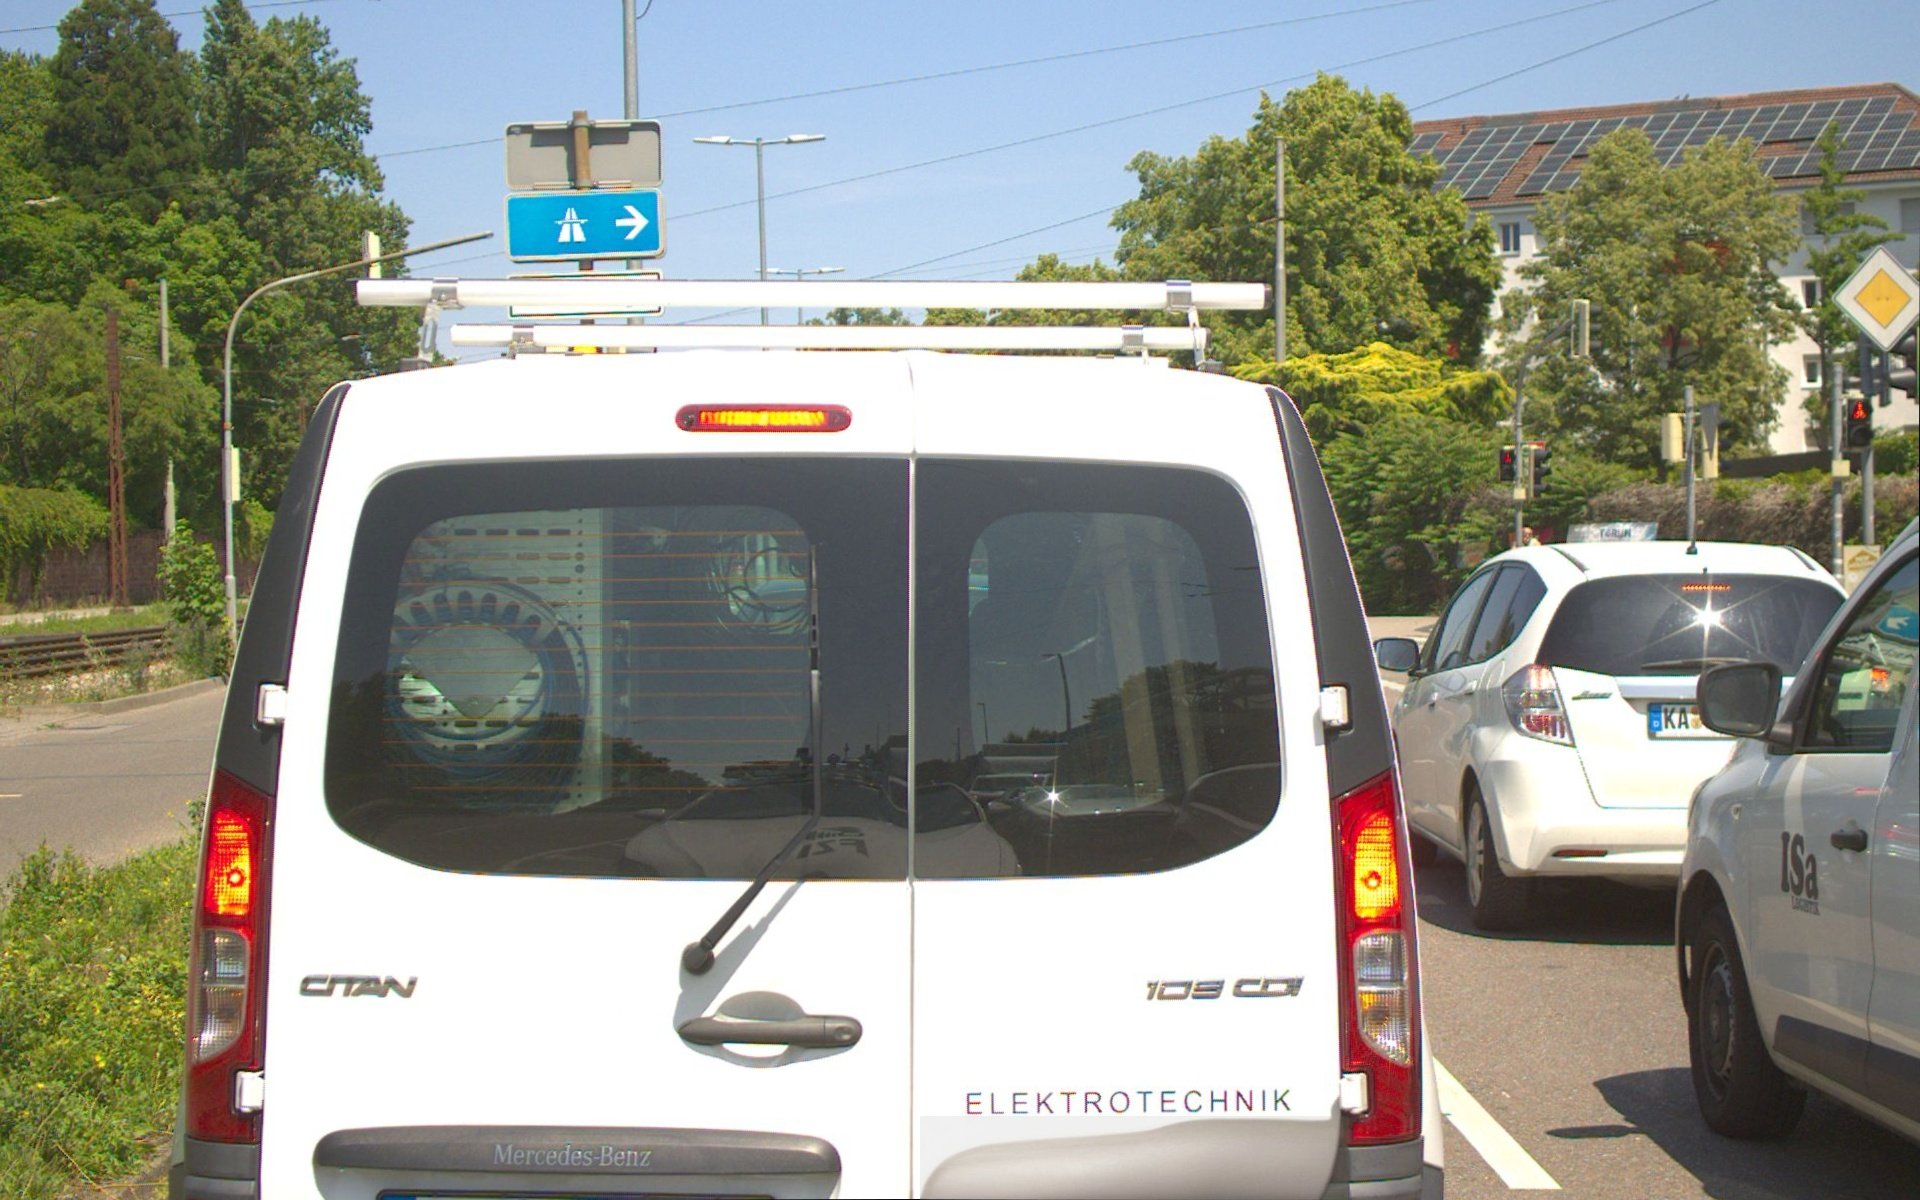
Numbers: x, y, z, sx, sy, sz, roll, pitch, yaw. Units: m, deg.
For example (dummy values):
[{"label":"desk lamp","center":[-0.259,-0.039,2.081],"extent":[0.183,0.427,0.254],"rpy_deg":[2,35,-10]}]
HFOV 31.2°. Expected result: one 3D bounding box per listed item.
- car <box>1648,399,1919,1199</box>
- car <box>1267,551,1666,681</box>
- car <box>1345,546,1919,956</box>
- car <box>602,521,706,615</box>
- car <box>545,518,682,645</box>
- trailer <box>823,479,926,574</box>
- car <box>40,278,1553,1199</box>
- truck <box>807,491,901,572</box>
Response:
[{"label":"car","center":[2.767,0.508,7.195],"extent":[1.710,1.824,4.014],"rpy_deg":[0,1,-2]},{"label":"car","center":[5.447,0.179,37.044],"extent":[3.878,1.307,1.694],"rpy_deg":[-1,1,31]},{"label":"car","center":[2.774,0.527,14.666],"extent":[1.756,1.481,4.000],"rpy_deg":[1,1,-1]},{"label":"car","center":[-6.809,-0.731,76.262],"extent":[1.993,2.007,4.001],"rpy_deg":[-1,1,-9]},{"label":"car","center":[-5.763,-0.328,56.785],"extent":[1.993,2.007,4.001],"rpy_deg":[-1,1,-9]},{"label":"trailer","center":[-3.845,-3.233,151.551],"extent":[3.527,4.037,8.979],"rpy_deg":[-1,1,-8]},{"label":"car","center":[-0.248,0.494,6.198],"extent":[1.866,1.829,3.849],"rpy_deg":[1,1,-1]},{"label":"truck","center":[-5.000,-3.186,160.362],"extent":[3.575,3.620,8.811],"rpy_deg":[-1,1,-7]}]
